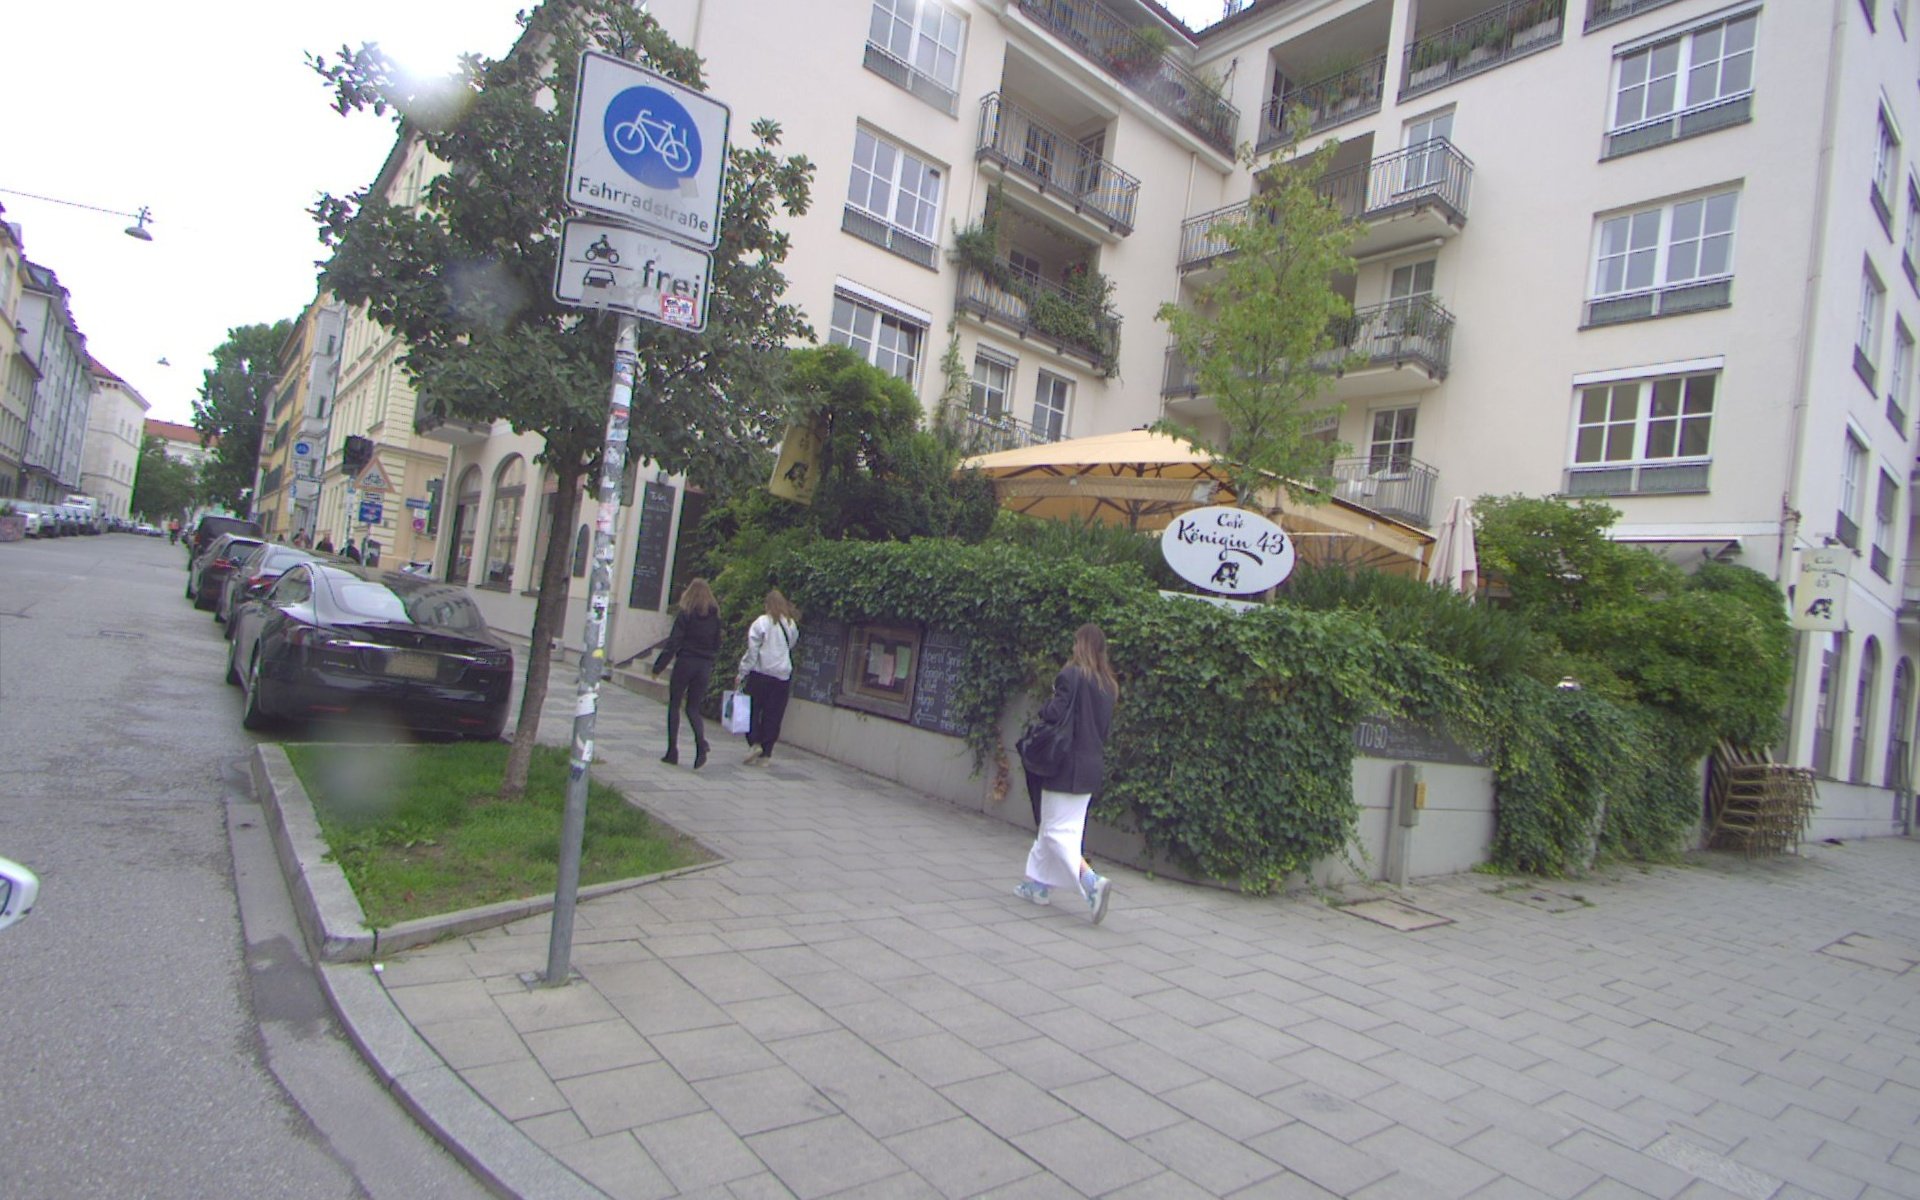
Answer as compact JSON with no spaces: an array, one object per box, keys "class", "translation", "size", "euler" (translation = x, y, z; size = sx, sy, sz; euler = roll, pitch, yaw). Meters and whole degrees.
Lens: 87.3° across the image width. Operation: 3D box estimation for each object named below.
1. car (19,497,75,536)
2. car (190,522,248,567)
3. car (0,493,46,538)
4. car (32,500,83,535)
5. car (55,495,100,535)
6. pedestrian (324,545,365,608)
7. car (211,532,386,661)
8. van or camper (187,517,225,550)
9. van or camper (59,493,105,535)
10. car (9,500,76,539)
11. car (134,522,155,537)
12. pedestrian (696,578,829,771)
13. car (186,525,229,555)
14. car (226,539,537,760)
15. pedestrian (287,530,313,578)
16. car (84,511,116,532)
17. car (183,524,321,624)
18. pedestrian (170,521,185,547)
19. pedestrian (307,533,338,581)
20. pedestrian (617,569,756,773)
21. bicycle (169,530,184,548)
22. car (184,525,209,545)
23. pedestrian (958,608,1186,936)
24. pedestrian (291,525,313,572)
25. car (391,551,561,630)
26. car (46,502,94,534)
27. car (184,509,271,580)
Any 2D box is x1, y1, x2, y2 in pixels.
[{"class":"car","translation":[-44.354,-4.044,48.930],"size":[1.749,1.513,4.153],"euler":[10,-3,-41]},{"class":"car","translation":[-31.543,-2.354,42.775],"size":[1.748,1.538,4.231],"euler":[10,-3,-38]},{"class":"car","translation":[-37.843,-3.407,40.154],"size":[1.750,1.491,3.671],"euler":[11,-3,-41]},{"class":"car","translation":[-47.516,-4.346,53.023],"size":[1.810,1.458,4.083],"euler":[9,-2,-42]},{"class":"car","translation":[-53.397,-5.118,60.825],"size":[1.750,2.017,4.571],"euler":[10,-3,-42]},{"class":"pedestrian","translation":[-18.193,-0.697,29.746],"size":[0.716,1.736,0.993],"euler":[9,-3,-39]},{"class":"car","translation":[-10.412,-0.136,15.671],"size":[1.642,1.440,4.460],"euler":[13,-4,-39]},{"class":"van or camper","translation":[-51.980,-4.572,69.283],"size":[1.826,1.892,5.027],"euler":[10,-3,-38]},{"class":"van or camper","translation":[-56.637,-5.495,64.955],"size":[1.748,2.306,5.217],"euler":[10,-3,-39]},{"class":"car","translation":[-40.710,-3.578,44.727],"size":[1.792,1.354,4.634],"euler":[10,-2,-39]},{"class":"car","translation":[-101.759,-8.823,125.564],"size":[1.697,1.599,3.826],"euler":[8,-2,-35]},{"class":"pedestrian","translation":[-1.859,0.690,9.449],"size":[0.702,1.680,0.871],"euler":[9,-3,-40]},{"class":"car","translation":[-46.267,-3.715,61.826],"size":[1.703,1.470,4.051],"euler":[10,-3,-40]},{"class":"car","translation":[-5.730,0.335,9.628],"size":[1.796,1.426,4.607],"euler":[11,-3,-38]},{"class":"pedestrian","translation":[-23.540,-1.628,35.874],"size":[0.470,1.643,1.058],"euler":[8,-3,-39]},{"class":"car","translation":[-74.030,-6.714,86.650],"size":[1.810,1.461,3.778],"euler":[8,-2,-39]},{"class":"car","translation":[-13.978,-0.559,19.755],"size":[1.672,1.440,4.156],"euler":[13,-4,-40]},{"class":"pedestrian","translation":[-53.916,-4.536,69.302],"size":[0.639,1.733,0.834],"euler":[8,-3,-38]},{"class":"pedestrian","translation":[-23.020,-1.542,36.328],"size":[0.656,1.638,0.969],"euler":[9,-3,-39]},{"class":"pedestrian","translation":[-2.430,0.617,8.930],"size":[0.702,1.680,0.871],"euler":[9,-3,-40]},{"class":"bicycle","translation":[-53.912,-4.164,69.236],"size":[0.672,1.107,1.742],"euler":[9,-3,-38]},{"class":"car","translation":[-76.691,-6.502,101.008],"size":[1.804,1.632,4.114],"euler":[9,-3,-37]},{"class":"pedestrian","translation":[0.624,0.924,5.693],"size":[0.702,1.640,0.871],"euler":[9,-3,-40]},{"class":"pedestrian","translation":[-29.393,-2.278,44.938],"size":[0.666,2.005,0.701],"euler":[5,0,-38]},{"class":"car","translation":[-14.177,-0.263,29.604],"size":[4.074,1.624,1.735],"euler":[10,-1,-40]},{"class":"car","translation":[-50.333,-4.622,56.945],"size":[1.749,1.424,4.059],"euler":[10,-3,-39]},{"class":"car","translation":[-24.723,-1.878,33.969],"size":[1.989,1.885,5.201],"euler":[10,-3,-37]}]
